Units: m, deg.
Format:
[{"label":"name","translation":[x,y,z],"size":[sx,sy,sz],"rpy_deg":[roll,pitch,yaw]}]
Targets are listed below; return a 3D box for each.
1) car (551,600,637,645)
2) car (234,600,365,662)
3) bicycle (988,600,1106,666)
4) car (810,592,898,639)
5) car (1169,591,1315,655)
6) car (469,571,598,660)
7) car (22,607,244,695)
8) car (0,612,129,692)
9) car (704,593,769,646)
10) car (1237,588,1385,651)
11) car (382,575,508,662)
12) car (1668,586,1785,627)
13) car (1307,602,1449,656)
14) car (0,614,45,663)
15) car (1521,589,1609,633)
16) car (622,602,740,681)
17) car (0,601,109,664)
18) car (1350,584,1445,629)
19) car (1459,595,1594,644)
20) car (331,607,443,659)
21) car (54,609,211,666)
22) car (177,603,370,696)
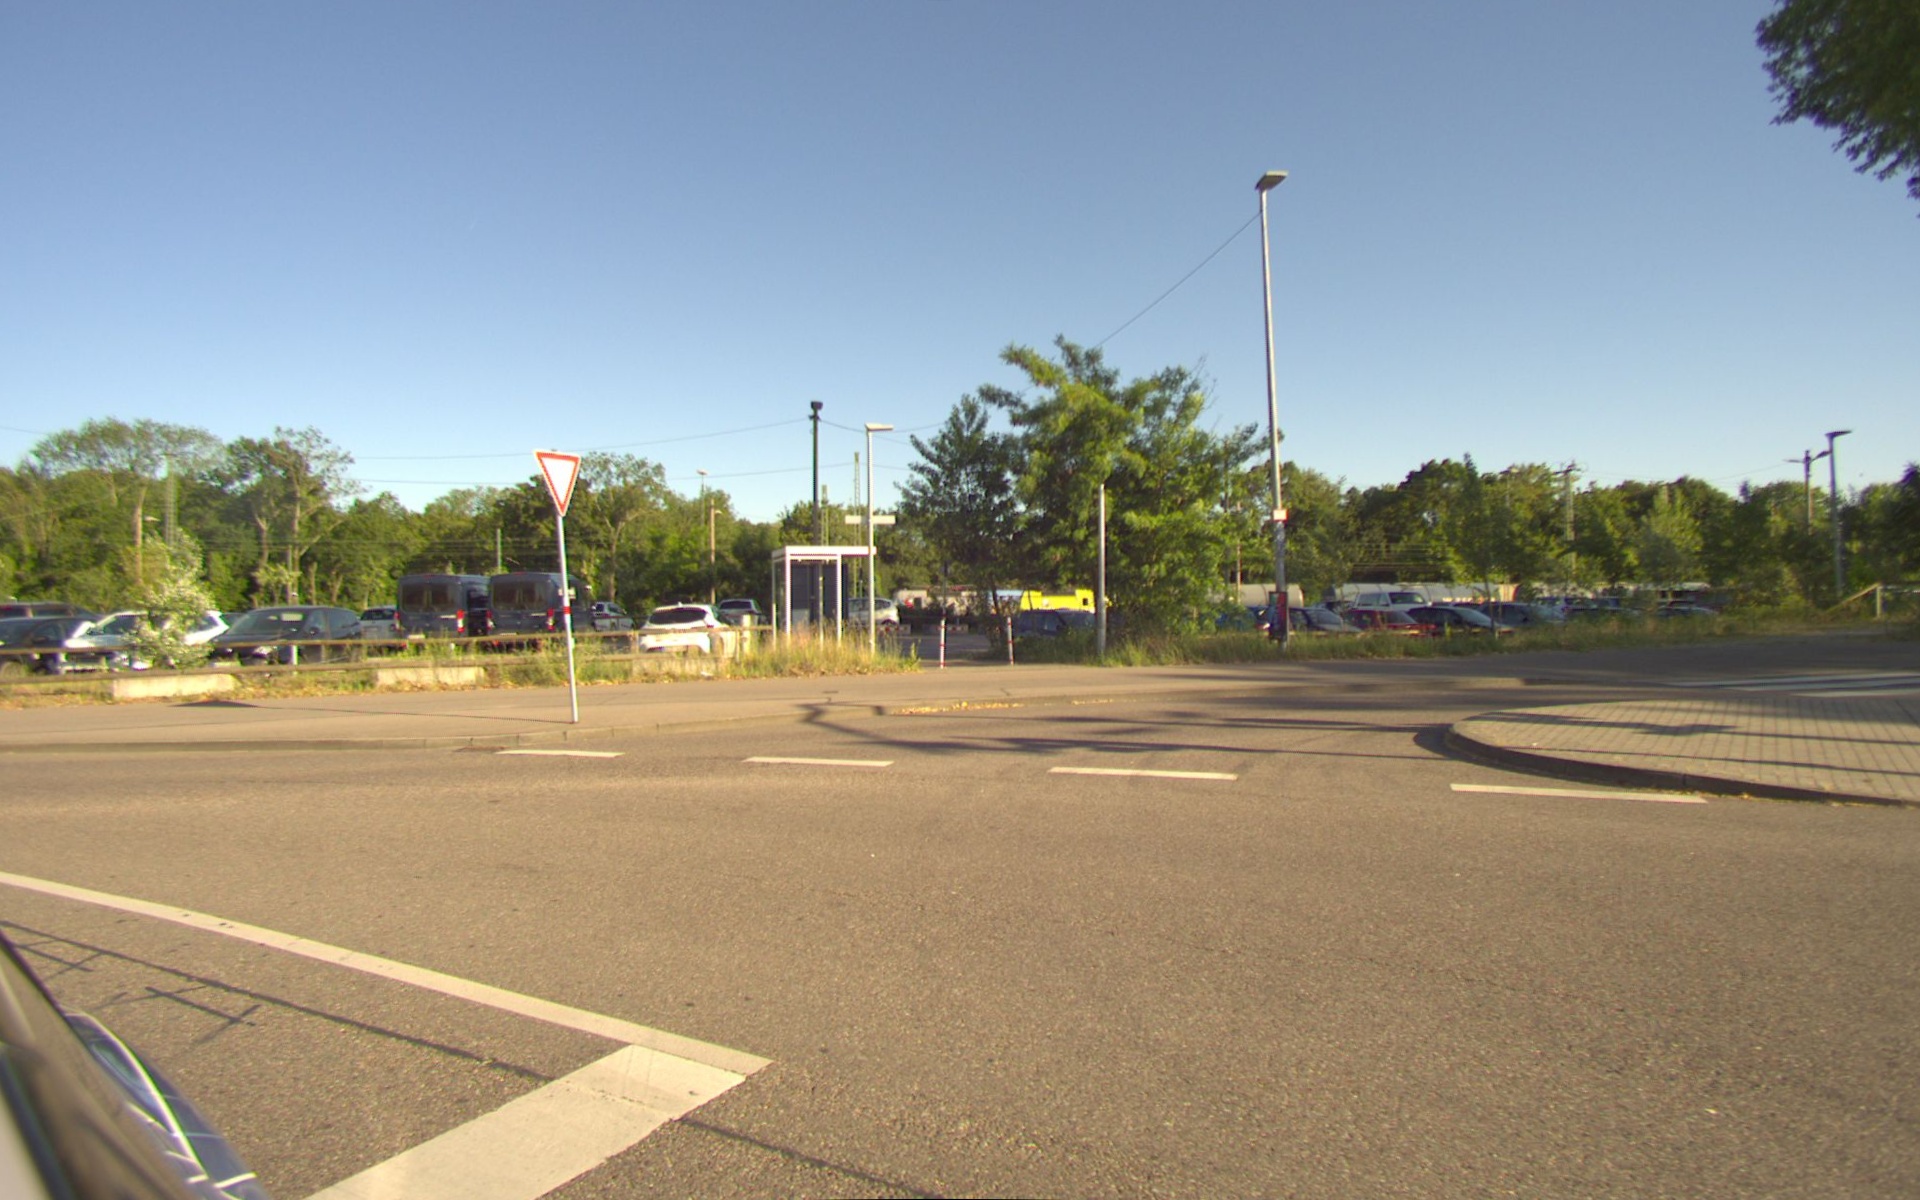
[{"label":"car","translation":[-13.850,0.816,38.551],"size":[1.957,1.510,4.206],"rpy_deg":[-2,1,-4]},{"label":"car","translation":[-21.045,0.926,32.468],"size":[1.800,1.592,4.006],"rpy_deg":[-2,4,-5]},{"label":"bicycle","translation":[2.242,0.845,26.392],"size":[2.945,1.628,0.897],"rpy_deg":[-1,1,32]},{"label":"car","translation":[-4.367,0.595,41.145],"size":[2.140,1.743,4.507],"rpy_deg":[-2,1,-25]},{"label":"car","translation":[8.115,0.627,29.479],"size":[1.979,1.678,3.864],"rpy_deg":[-2,1,-27]},{"label":"car","translation":[-13.559,0.446,32.615],"size":[2.364,2.535,5.521],"rpy_deg":[-2,0,-7]},{"label":"car","translation":[-17.362,0.989,21.531],"size":[1.856,1.623,4.066],"rpy_deg":[-2,0,-9]},{"label":"car","translation":[-20.010,1.078,21.372],"size":[1.828,1.527,4.004],"rpy_deg":[-2,0,-4]},{"label":"car","translation":[-8.563,0.699,39.050],"size":[1.956,1.822,4.208],"rpy_deg":[-2,1,-6]},{"label":"car","translation":[10.356,0.546,30.133],"size":[1.809,1.695,4.013],"rpy_deg":[-2,1,-27]},{"label":"car","translation":[-16.182,0.533,32.103],"size":[2.096,2.486,4.489],"rpy_deg":[-2,0,-7]},{"label":"car","translation":[34.450,0.271,45.648],"size":[1.949,1.718,4.159],"rpy_deg":[-2,1,-3]},{"label":"car","translation":[12.762,0.833,31.187],"size":[1.700,1.470,4.013],"rpy_deg":[-2,1,-21]},{"label":"car","translation":[-31.461,1.279,31.899],"size":[1.862,1.498,3.948],"rpy_deg":[-1,2,-5]},{"label":"car","translation":[27.252,0.449,45.747],"size":[1.717,1.852,4.034],"rpy_deg":[-2,0,4]},{"label":"car","translation":[-6.213,0.867,23.021],"size":[1.862,1.522,4.279],"rpy_deg":[-2,1,-6]},{"label":"car","translation":[-29.118,0.999,31.993],"size":[1.742,1.746,3.789],"rpy_deg":[-2,2,-11]},{"label":"car","translation":[19.605,0.238,45.654],"size":[2.170,1.852,5.023],"rpy_deg":[-2,0,2]},{"label":"car","translation":[19.209,0.620,34.543],"size":[1.968,1.486,4.007],"rpy_deg":[-2,1,-8]},{"label":"car","translation":[-18.900,1.041,33.552],"size":[1.806,1.519,3.756],"rpy_deg":[-2,0,-5]},{"label":"car","translation":[-26.265,1.154,32.318],"size":[1.970,1.606,4.005],"rpy_deg":[-2,0,-5]},{"label":"car","translation":[-14.615,0.975,21.848],"size":[1.843,1.667,4.153],"rpy_deg":[-2,1,-9]}]
